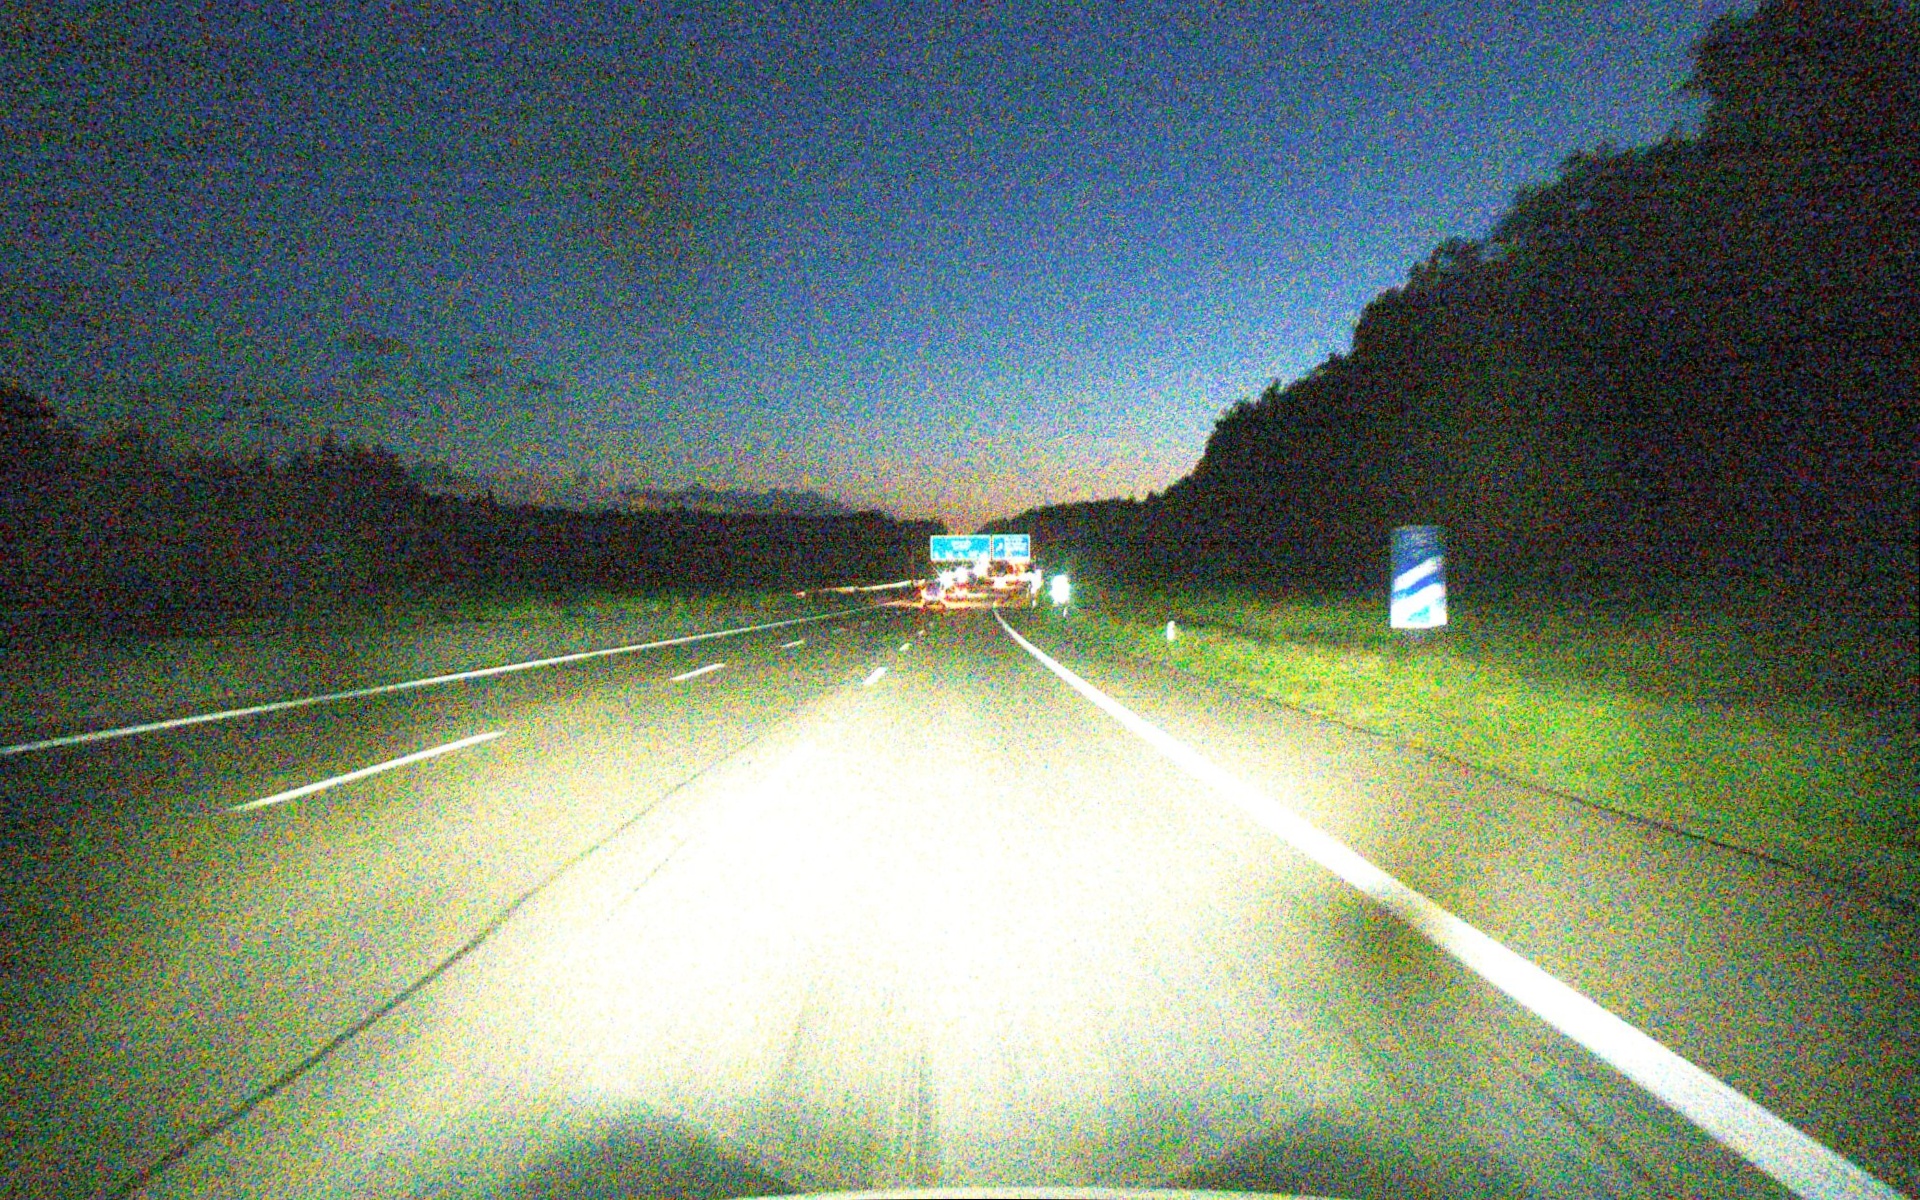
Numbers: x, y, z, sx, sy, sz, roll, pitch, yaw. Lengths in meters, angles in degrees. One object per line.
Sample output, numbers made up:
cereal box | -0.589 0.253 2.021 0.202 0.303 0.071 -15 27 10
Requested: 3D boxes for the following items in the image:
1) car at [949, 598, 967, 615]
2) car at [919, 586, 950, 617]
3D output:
car | -0.322 1.045 261.896 2.729 2.781 6.298 0 0 0
car | -2.313 0.137 152.494 2.729 2.781 6.299 0 0 1
